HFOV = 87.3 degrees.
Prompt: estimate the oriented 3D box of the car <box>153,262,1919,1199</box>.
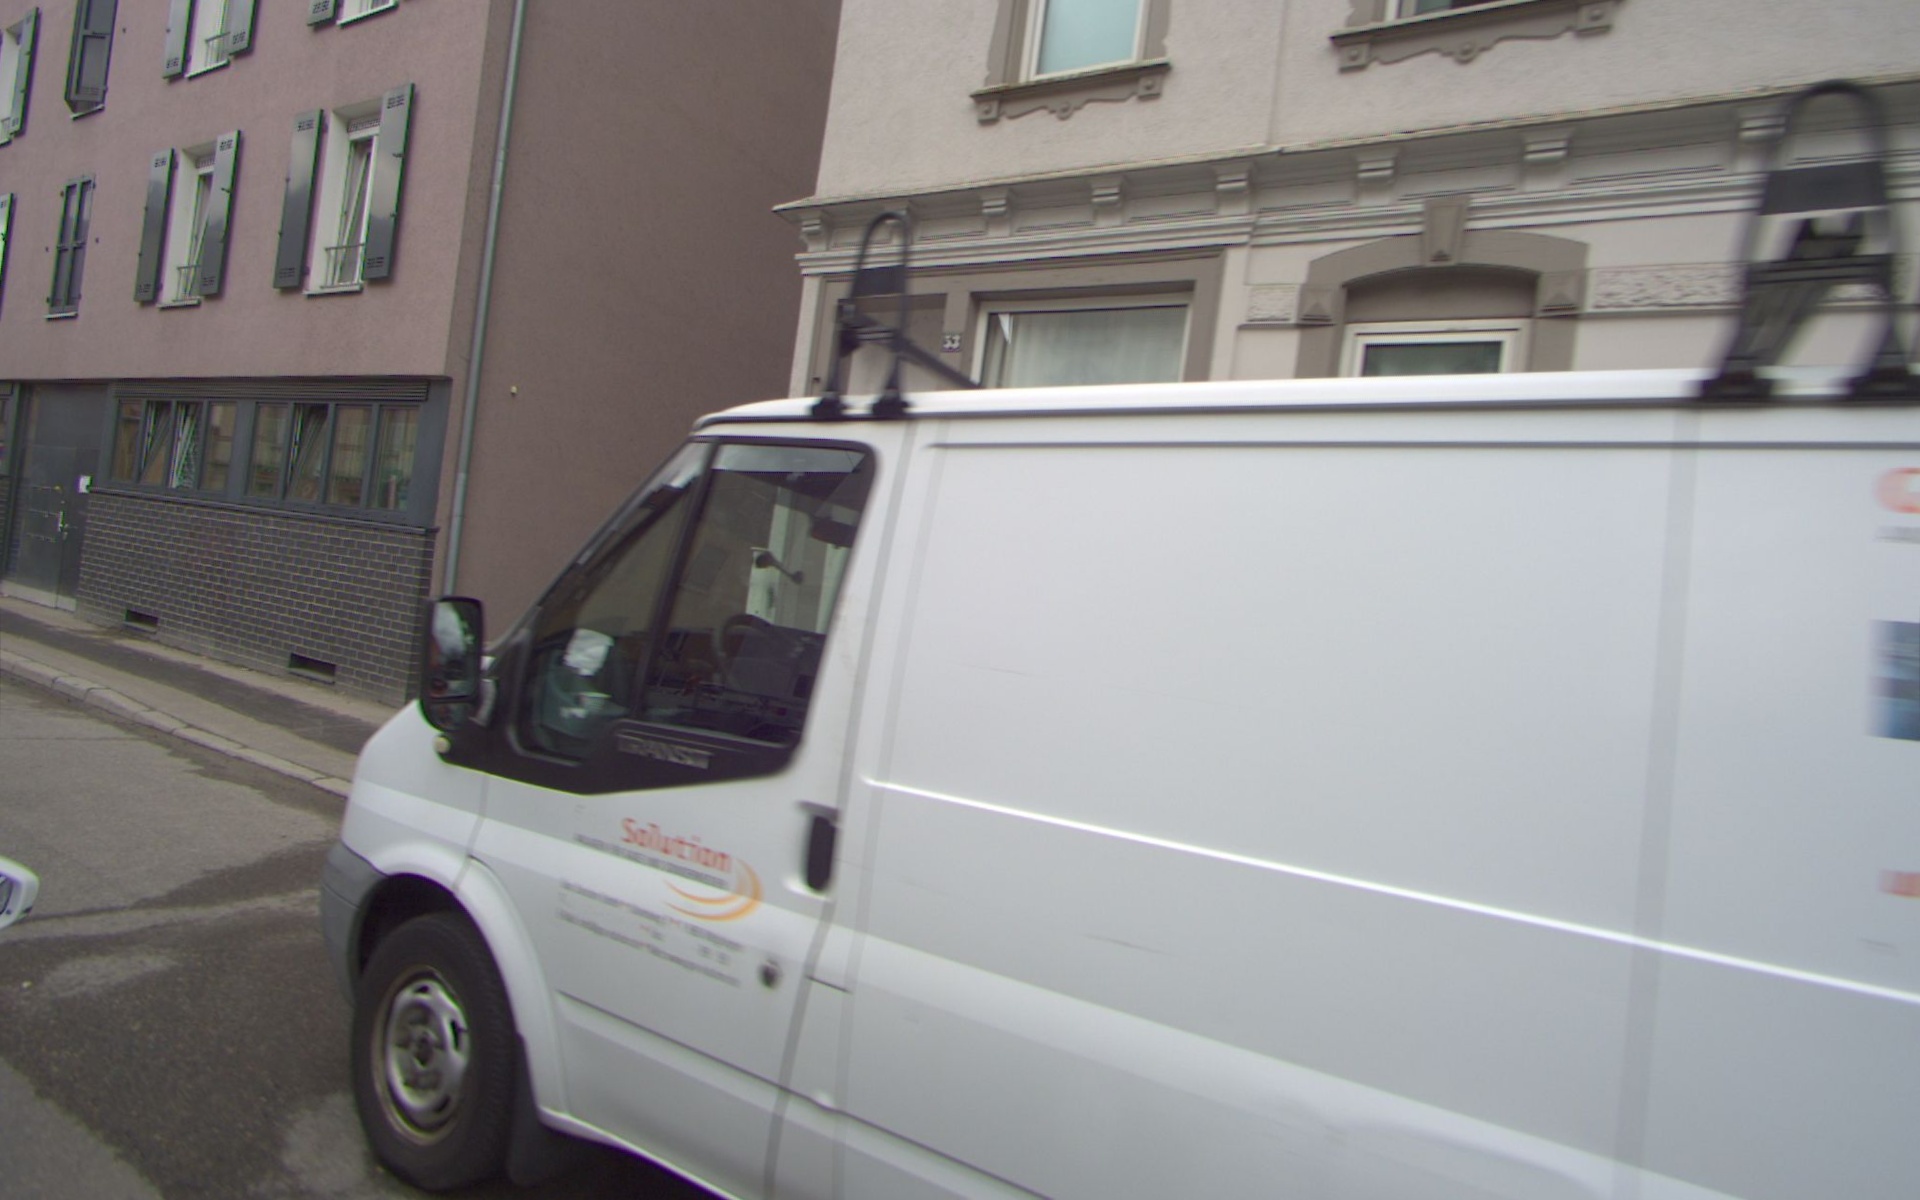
[{"bbox_3d":[0.428,0.649,2.567,4.843,2.027,2.134,7,-2,31],"label":"car"}]
